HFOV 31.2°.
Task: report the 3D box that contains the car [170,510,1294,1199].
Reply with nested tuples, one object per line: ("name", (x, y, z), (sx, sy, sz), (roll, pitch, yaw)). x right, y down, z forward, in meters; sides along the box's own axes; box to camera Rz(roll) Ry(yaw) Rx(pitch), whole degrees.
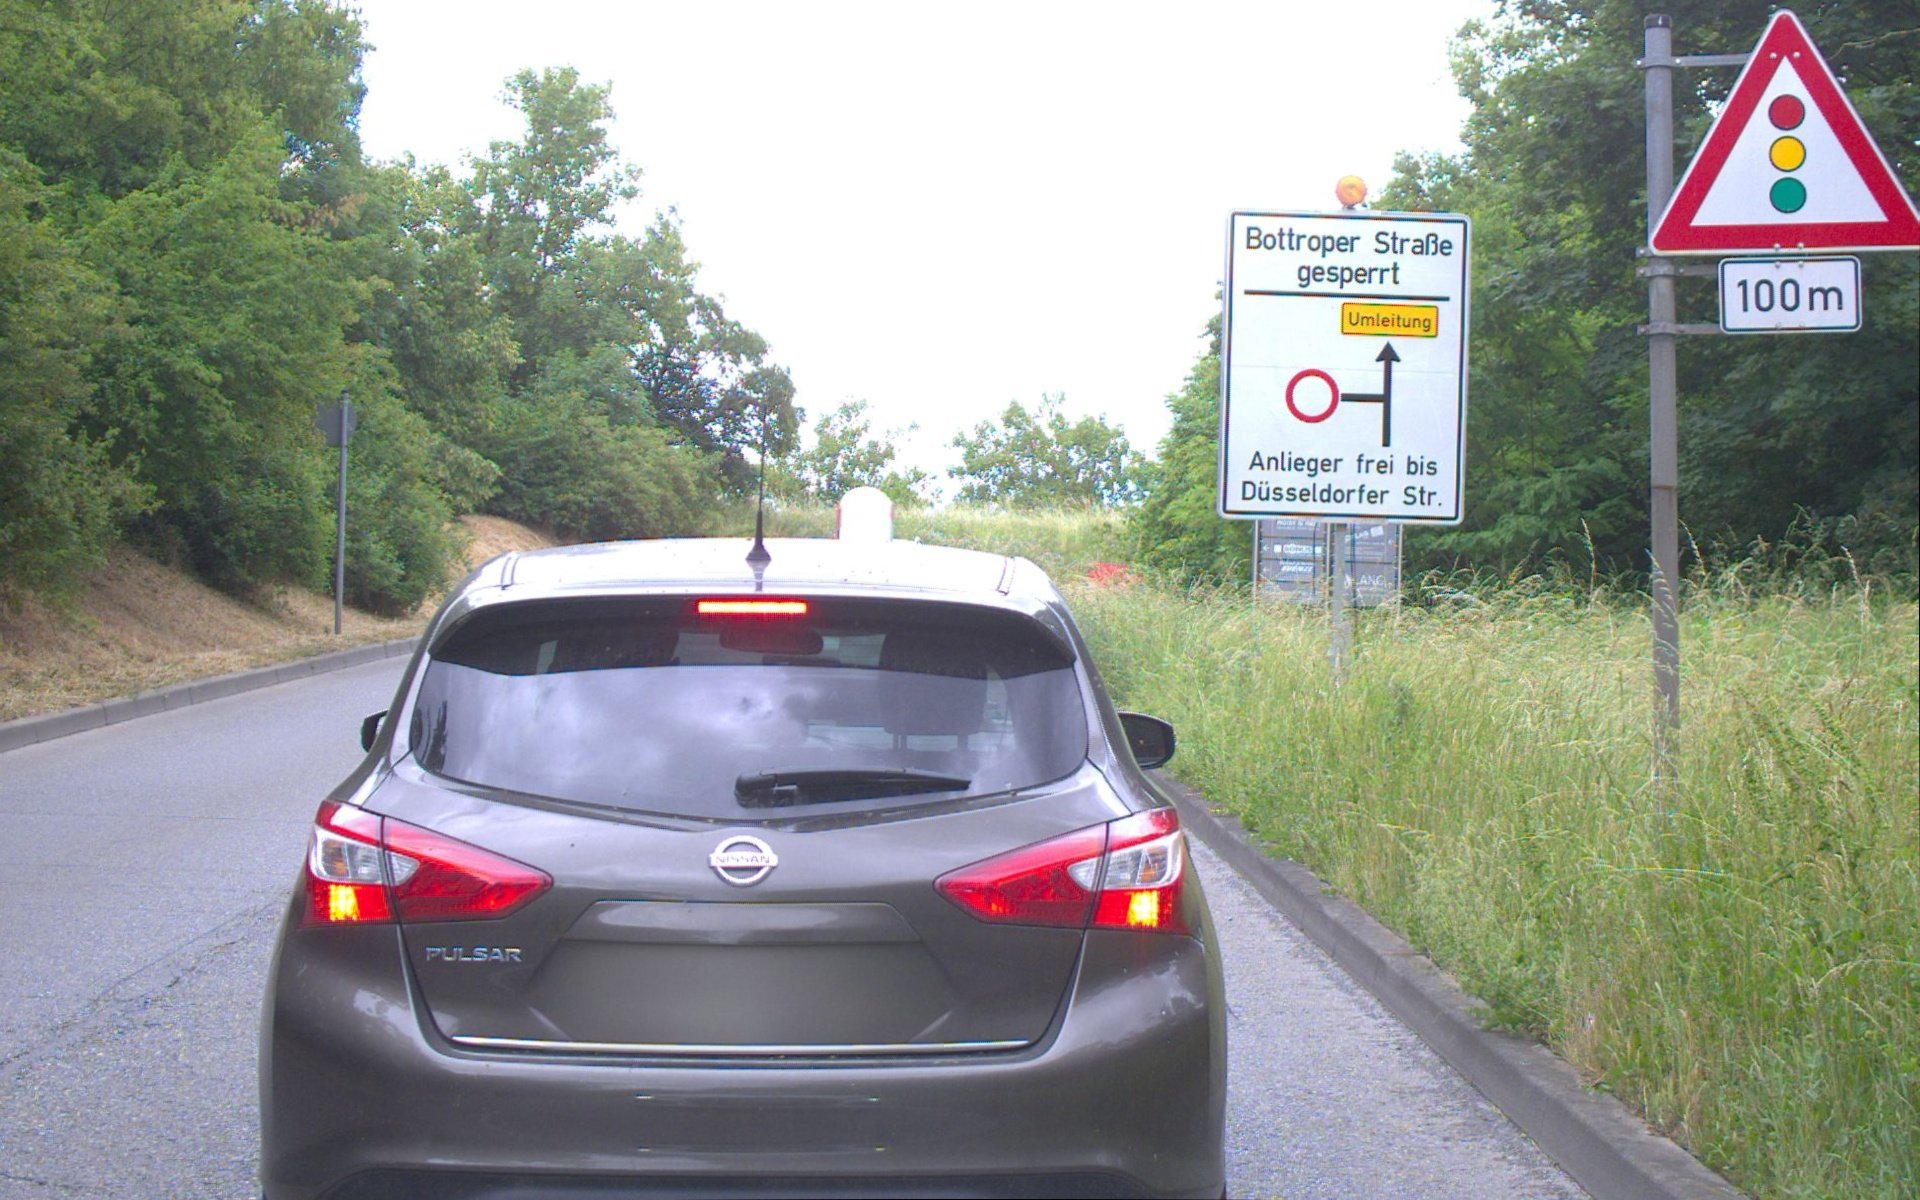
("car", (-0.437, 0.603, 7.377), (1.830, 1.551, 3.500), (0, 1, -2))

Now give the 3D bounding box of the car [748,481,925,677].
("car", (-1.281, -0.240, 35.701), (1.736, 1.928, 3.544), (0, 1, -2))

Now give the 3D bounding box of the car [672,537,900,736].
("car", (-1.391, 0.254, 28.657), (1.736, 1.551, 3.543), (0, 1, 0))

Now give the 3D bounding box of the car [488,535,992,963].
("car", (-0.810, 0.512, 14.341), (1.830, 1.551, 3.625), (0, 1, 0))

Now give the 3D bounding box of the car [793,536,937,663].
("car", (-1.208, -0.040, 43.240), (1.736, 1.521, 3.544), (0, 1, -2))

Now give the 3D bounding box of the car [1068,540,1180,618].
("car", (3.328, -0.442, 69.349), (1.737, 1.521, 3.640), (0, 1, 11))

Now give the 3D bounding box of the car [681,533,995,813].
("car", (-0.686, 0.377, 20.887), (1.736, 1.551, 3.543), (0, 1, 0))

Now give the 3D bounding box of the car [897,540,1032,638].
("car", (0.106, -0.205, 55.767), (1.736, 1.521, 3.640), (0, 1, 8))
